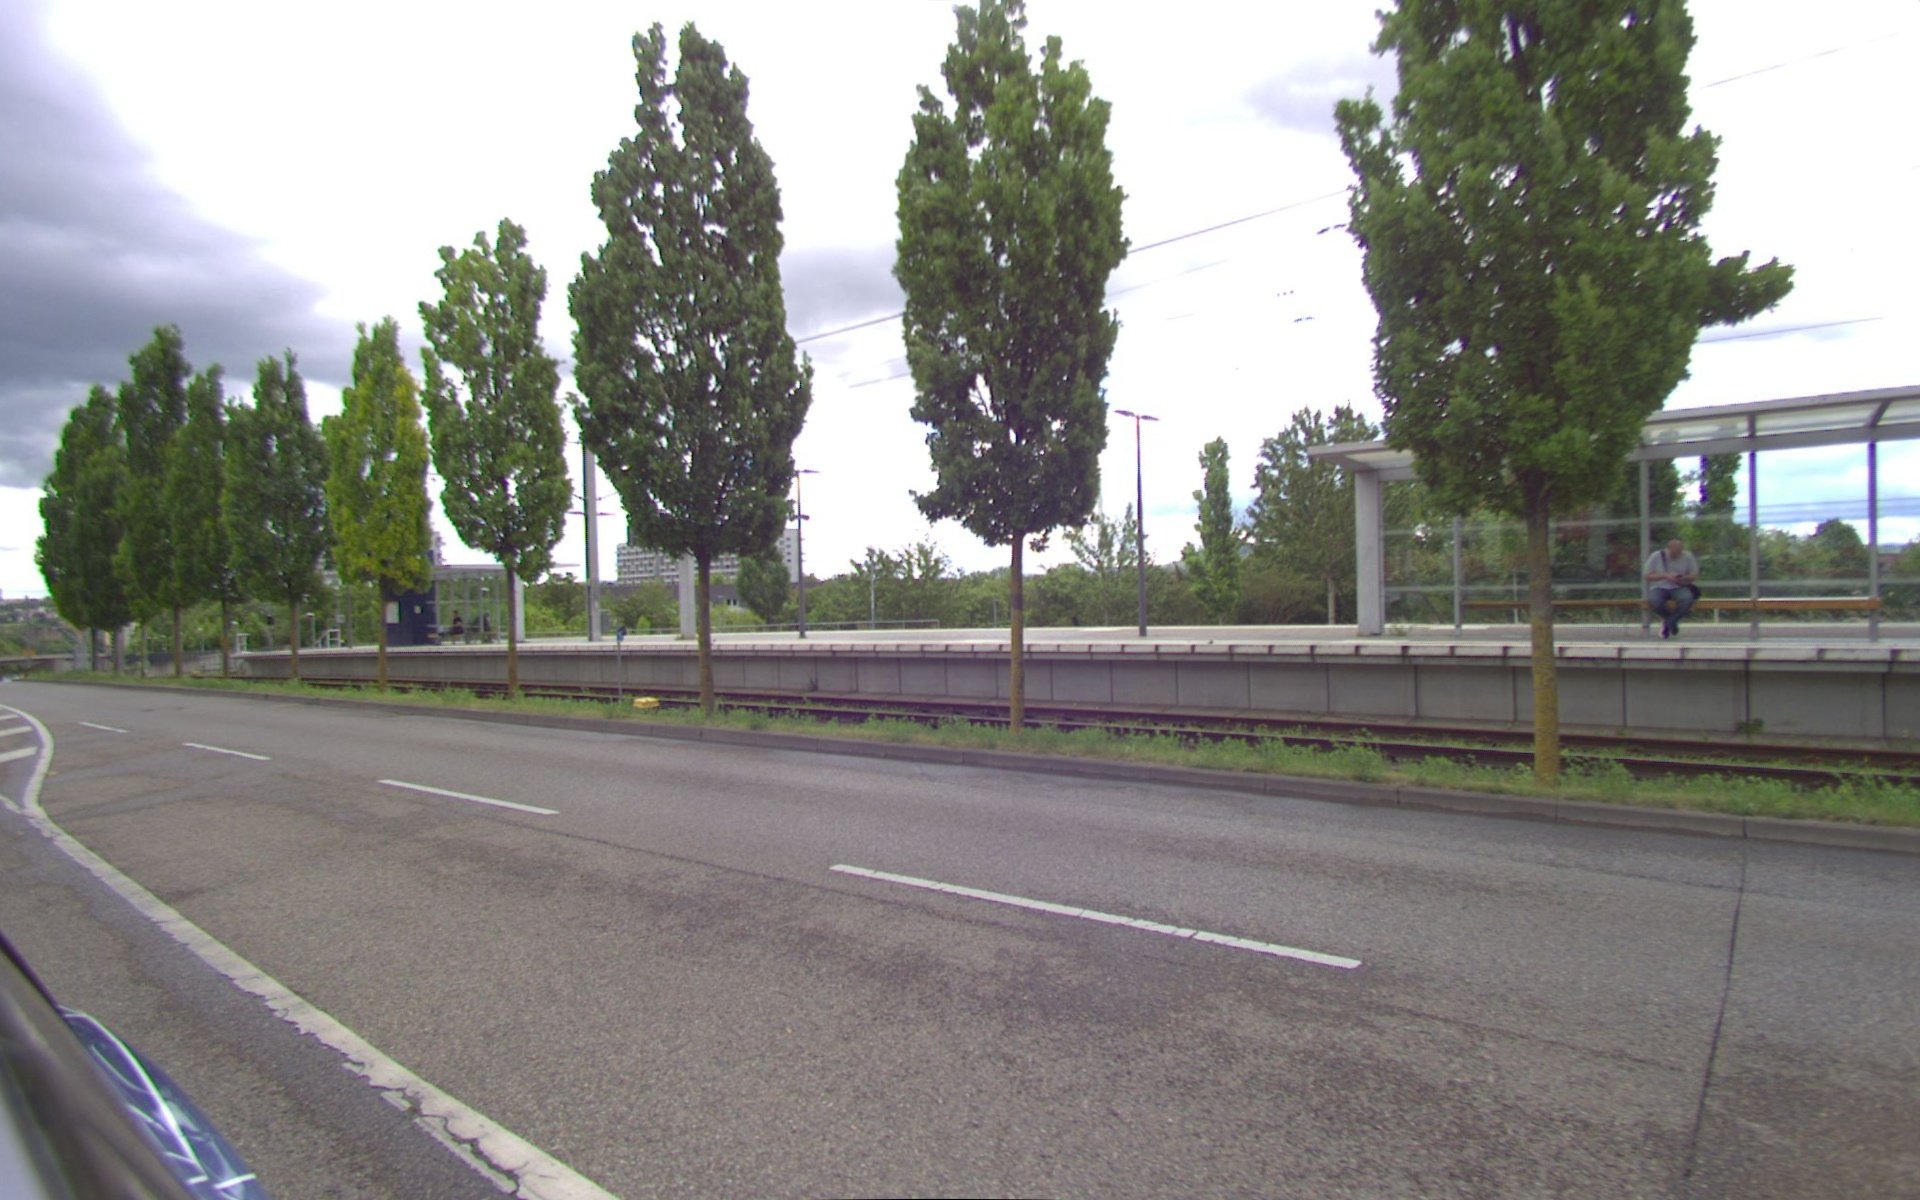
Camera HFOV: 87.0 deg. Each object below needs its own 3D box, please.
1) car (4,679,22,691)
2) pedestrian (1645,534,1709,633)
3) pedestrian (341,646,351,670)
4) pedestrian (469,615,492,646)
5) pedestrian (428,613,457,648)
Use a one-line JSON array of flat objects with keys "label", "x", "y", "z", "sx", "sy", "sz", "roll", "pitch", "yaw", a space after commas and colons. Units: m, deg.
[{"label": "car", "x": -127.784, "y": 11.422, "z": 136.520, "sx": 1.696, "sy": 1.533, "sz": 3.747, "roll": 0, "pitch": -3, "yaw": -43}, {"label": "pedestrian", "x": 9.563, "y": -0.210, "z": 13.507, "sx": 0.658, "sy": 1.279, "sz": 0.604, "roll": -2, "pitch": -1, "yaw": 36}, {"label": "pedestrian", "x": -44.485, "y": 4.203, "z": 73.315, "sx": 0.501, "sy": 1.637, "sz": 0.646, "roll": 0, "pitch": -3, "yaw": -44}, {"label": "pedestrian", "x": -17.286, "y": 1.101, "z": 36.492, "sx": 0.470, "sy": 1.087, "sz": 0.601, "roll": -4, "pitch": -3, "yaw": 40}, {"label": "pedestrian", "x": -18.631, "y": 1.097, "z": 36.432, "sx": 0.665, "sy": 1.208, "sz": 0.753, "roll": -3, "pitch": -2, "yaw": 40}]
